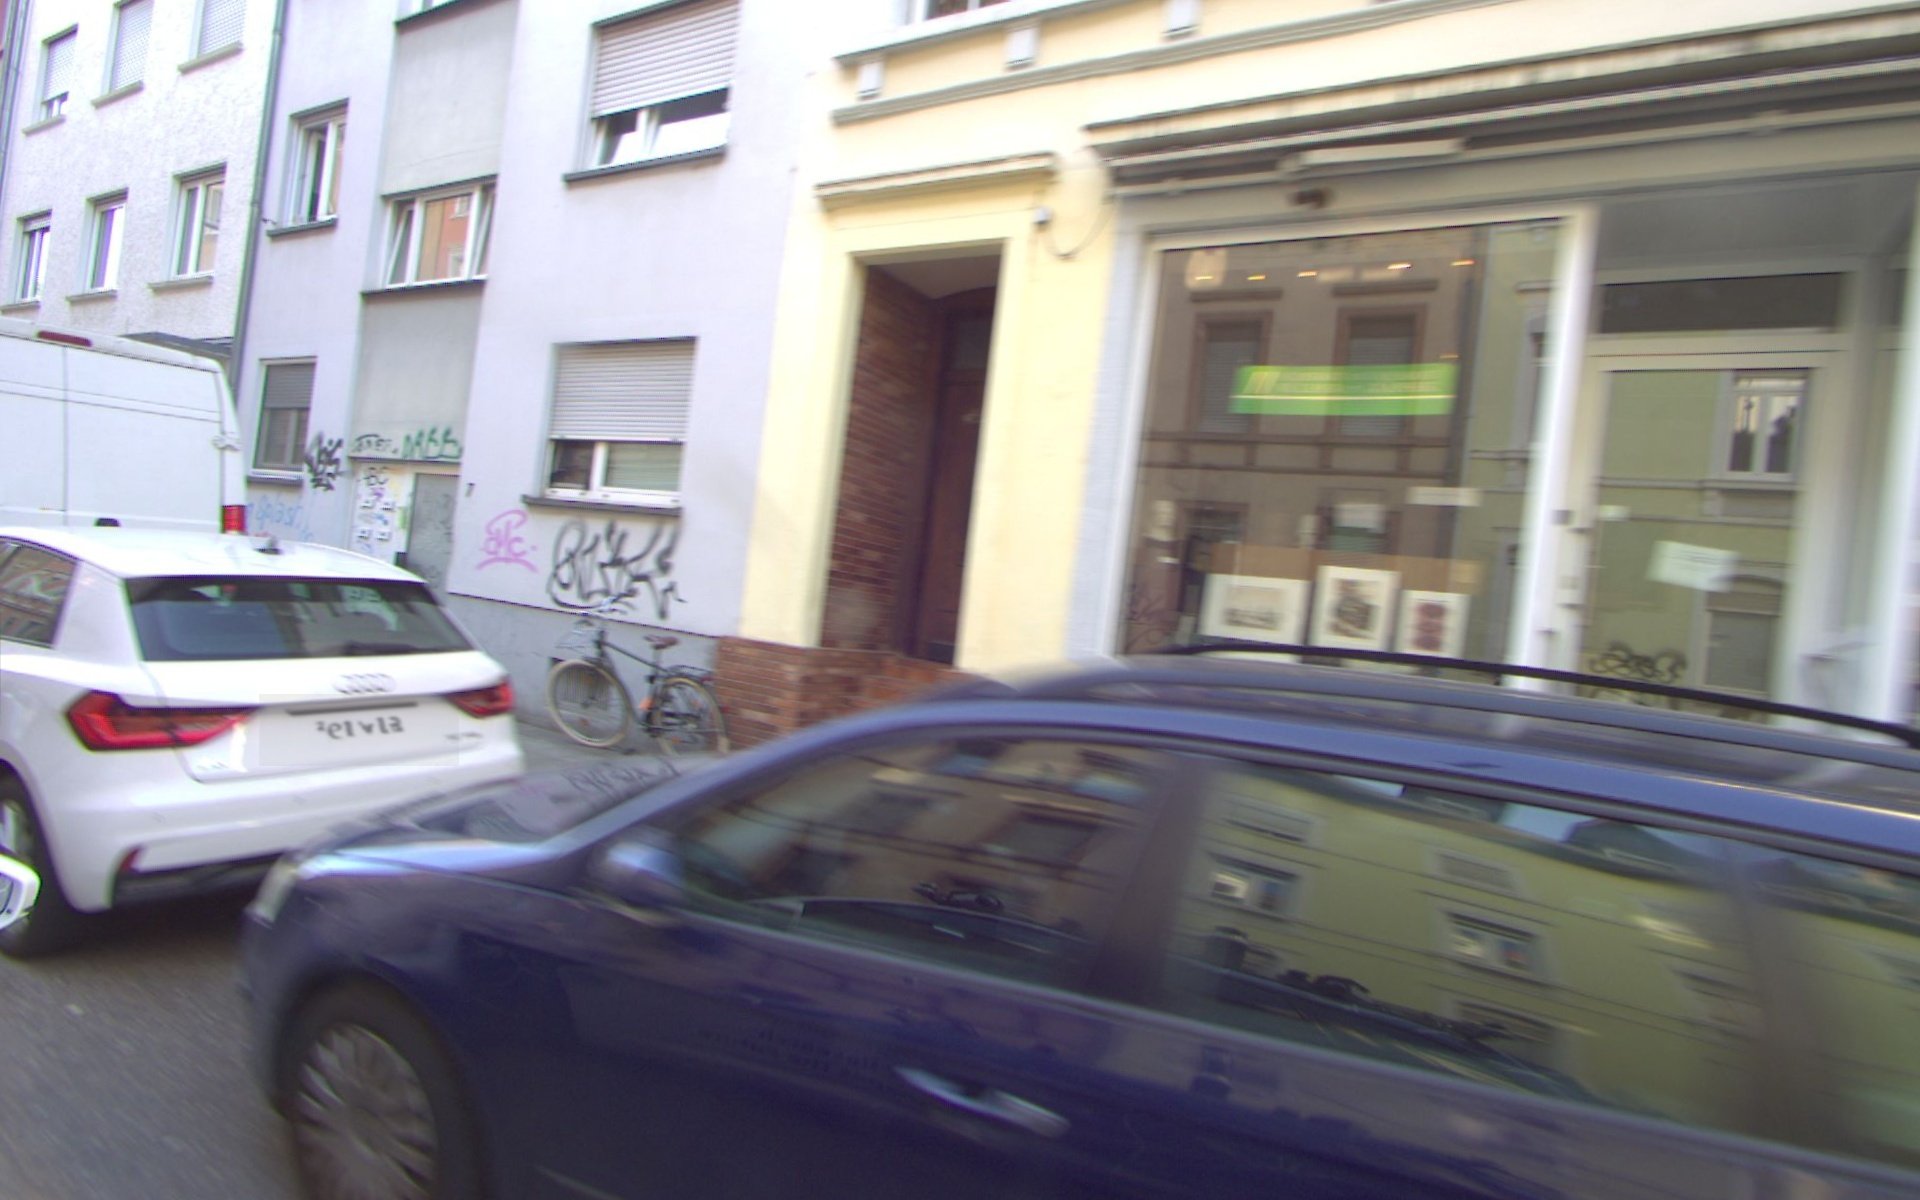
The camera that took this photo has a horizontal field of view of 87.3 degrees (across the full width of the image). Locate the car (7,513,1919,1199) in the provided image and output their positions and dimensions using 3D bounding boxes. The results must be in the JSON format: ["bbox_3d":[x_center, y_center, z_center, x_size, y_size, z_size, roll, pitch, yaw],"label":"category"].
[{"bbox_3d":[0.227,0.829,2.349,4.523,1.498,1.815,7,2,22],"label":"car"}]

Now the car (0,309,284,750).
[{"bbox_3d":[-7.954,-0.660,7.802,5.938,2.582,2.206,7,0,34],"label":"car"}]

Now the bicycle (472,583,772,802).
[{"bbox_3d":[-2.470,0.581,7.186,2.313,1.174,0.628,7,3,32],"label":"bicycle"}]

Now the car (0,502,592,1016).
[{"bbox_3d":[-3.745,0.375,4.638,3.767,1.447,1.728,7,-1,30],"label":"car"}]
